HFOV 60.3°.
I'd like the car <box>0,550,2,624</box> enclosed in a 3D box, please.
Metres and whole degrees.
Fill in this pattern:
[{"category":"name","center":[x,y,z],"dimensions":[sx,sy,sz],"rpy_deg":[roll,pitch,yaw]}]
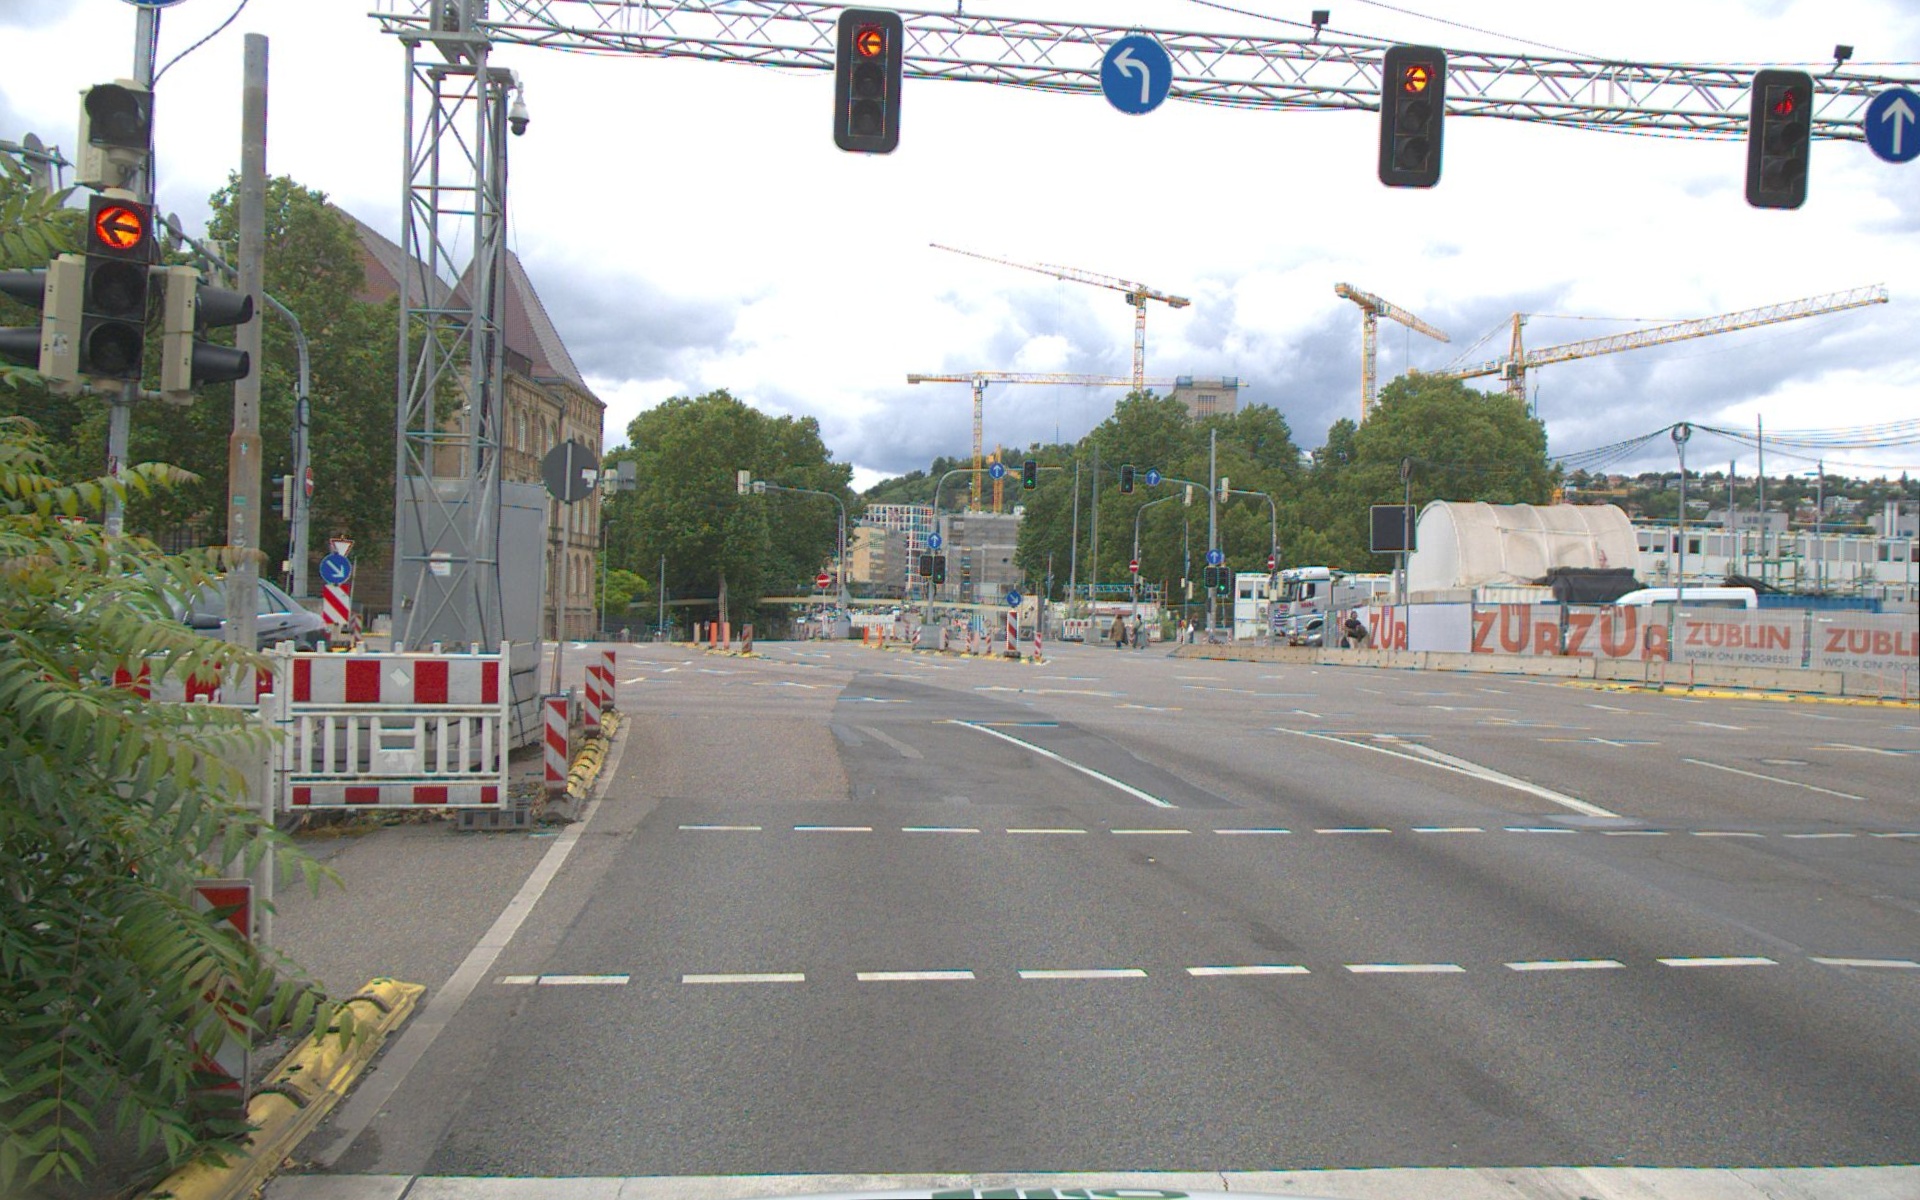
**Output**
[{"category":"car","center":[-19.706,-0.130,29.342],"dimensions":[4.239,1.705,1.993],"rpy_deg":[2,0,-14]}]

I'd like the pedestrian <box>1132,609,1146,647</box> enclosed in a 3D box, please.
[{"category":"pedestrian","center":[8.300,1.305,76.736],"dimensions":[0.555,1.718,0.471],"rpy_deg":[2,0,-1]}]

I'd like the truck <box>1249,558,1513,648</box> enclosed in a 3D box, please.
[{"category":"truck","center":[20.999,0.175,82.312],"dimensions":[12.837,4.111,3.927],"rpy_deg":[1,0,-21]}]

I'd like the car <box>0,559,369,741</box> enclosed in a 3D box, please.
[{"category":"car","center":[-7.433,0.424,16.338],"dimensions":[1.666,1.497,4.628],"rpy_deg":[1,0,-3]}]

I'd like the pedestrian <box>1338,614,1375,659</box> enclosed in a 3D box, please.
[{"category":"pedestrian","center":[12.877,1.172,53.727],"dimensions":[0.783,1.402,0.901],"rpy_deg":[2,0,-15]}]

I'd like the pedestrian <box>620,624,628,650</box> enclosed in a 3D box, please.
[{"category":"pedestrian","center":[-27.150,2.966,133.544],"dimensions":[0.513,2.049,0.566],"rpy_deg":[1,0,-1]}]

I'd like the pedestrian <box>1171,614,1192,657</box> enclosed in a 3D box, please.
[{"category":"pedestrian","center":[9.065,1.439,67.660],"dimensions":[0.714,1.718,0.677],"rpy_deg":[2,0,-1]}]

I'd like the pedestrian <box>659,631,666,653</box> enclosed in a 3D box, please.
[{"category":"pedestrian","center":[-28.448,4.004,157.967],"dimensions":[0.513,2.049,0.566],"rpy_deg":[1,0,-1]}]

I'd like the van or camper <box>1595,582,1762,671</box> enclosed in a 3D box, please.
[{"category":"van or camper","center":[20.729,0.750,47.903],"dimensions":[4.123,2.398,2.001],"rpy_deg":[1,0,14]}]

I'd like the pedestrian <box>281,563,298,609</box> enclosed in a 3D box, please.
[{"category":"pedestrian","center":[-29.520,-0.618,72.859],"dimensions":[0.523,2.049,0.421],"rpy_deg":[2,0,-44]}]

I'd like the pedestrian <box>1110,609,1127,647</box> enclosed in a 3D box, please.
[{"category":"pedestrian","center":[7.351,1.298,76.729],"dimensions":[0.714,1.718,0.677],"rpy_deg":[2,0,-1]}]

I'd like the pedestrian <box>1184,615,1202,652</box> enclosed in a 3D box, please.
[{"category":"pedestrian","center":[10.972,1.552,77.780],"dimensions":[0.609,1.718,0.710],"rpy_deg":[2,0,28]}]
